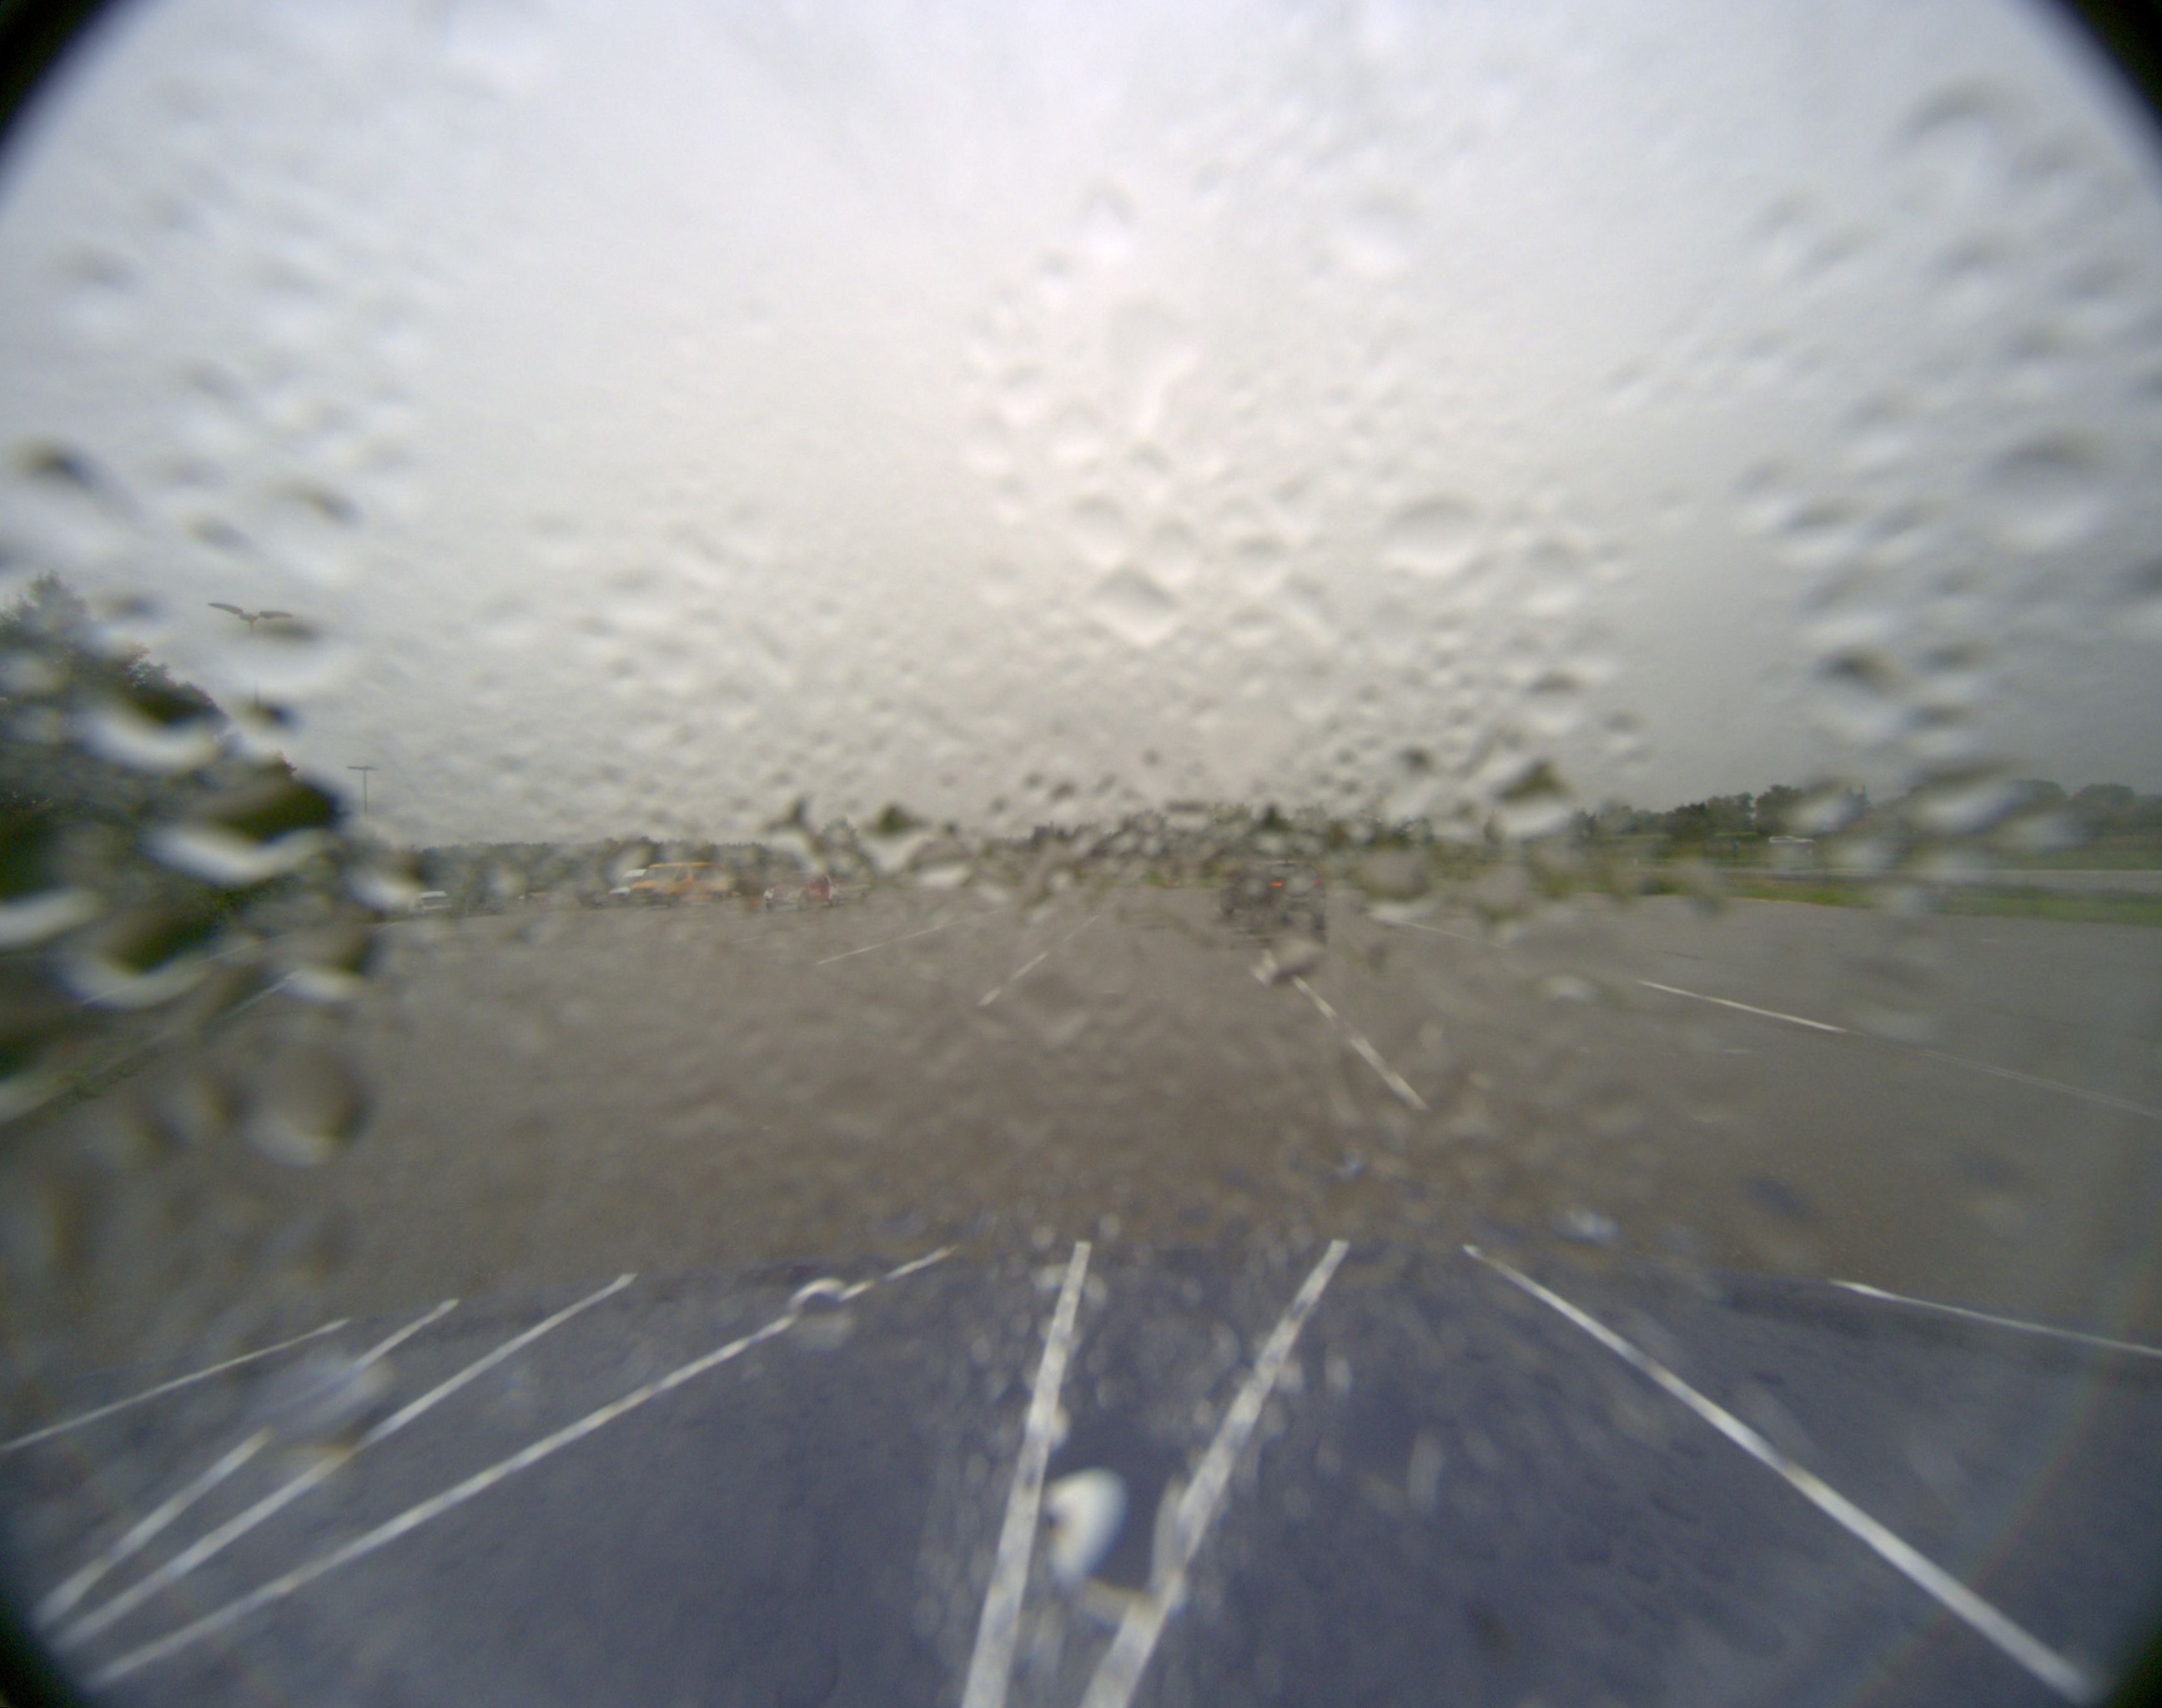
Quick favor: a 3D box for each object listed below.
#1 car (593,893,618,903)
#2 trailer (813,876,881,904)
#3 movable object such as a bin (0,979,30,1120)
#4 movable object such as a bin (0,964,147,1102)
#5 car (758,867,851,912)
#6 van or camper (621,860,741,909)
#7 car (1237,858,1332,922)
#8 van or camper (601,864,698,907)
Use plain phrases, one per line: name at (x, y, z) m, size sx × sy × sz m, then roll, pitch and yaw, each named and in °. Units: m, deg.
car at (-54.783, 5.106, 87.562) m, size 1.713 × 0.994 × 3.757 m, roll -2°, pitch 0°, yaw -43°
trailer at (-10.198, 1.554, 33.285) m, size 1.586 × 1.061 × 3.033 m, roll -3°, pitch -1°, yaw 10°
movable object such as a bin at (-7.487, 1.328, 5.004) m, size 0.495 × 0.915 × 0.416 m, roll -2°, pitch 0°, yaw -6°
movable object such as a bin at (-7.817, 1.346, 5.798) m, size 0.630 × 0.915 × 0.556 m, roll -2°, pitch 0°, yaw -6°
car at (-10.680, 1.330, 29.682) m, size 1.547 × 1.546 × 4.060 m, roll -2°, pitch 0°, yaw 10°
van or camper at (-20.536, 1.508, 39.487) m, size 2.132 × 2.233 × 6.421 m, roll -2°, pitch 0°, yaw 7°
car at (5.190, 0.851, 19.846) m, size 1.777 × 1.425 × 4.080 m, roll -2°, pitch 0°, yaw 7°
van or camper at (-29.782, 2.088, 52.820) m, size 1.997 × 2.699 × 7.072 m, roll 0°, pitch 0°, yaw 7°
